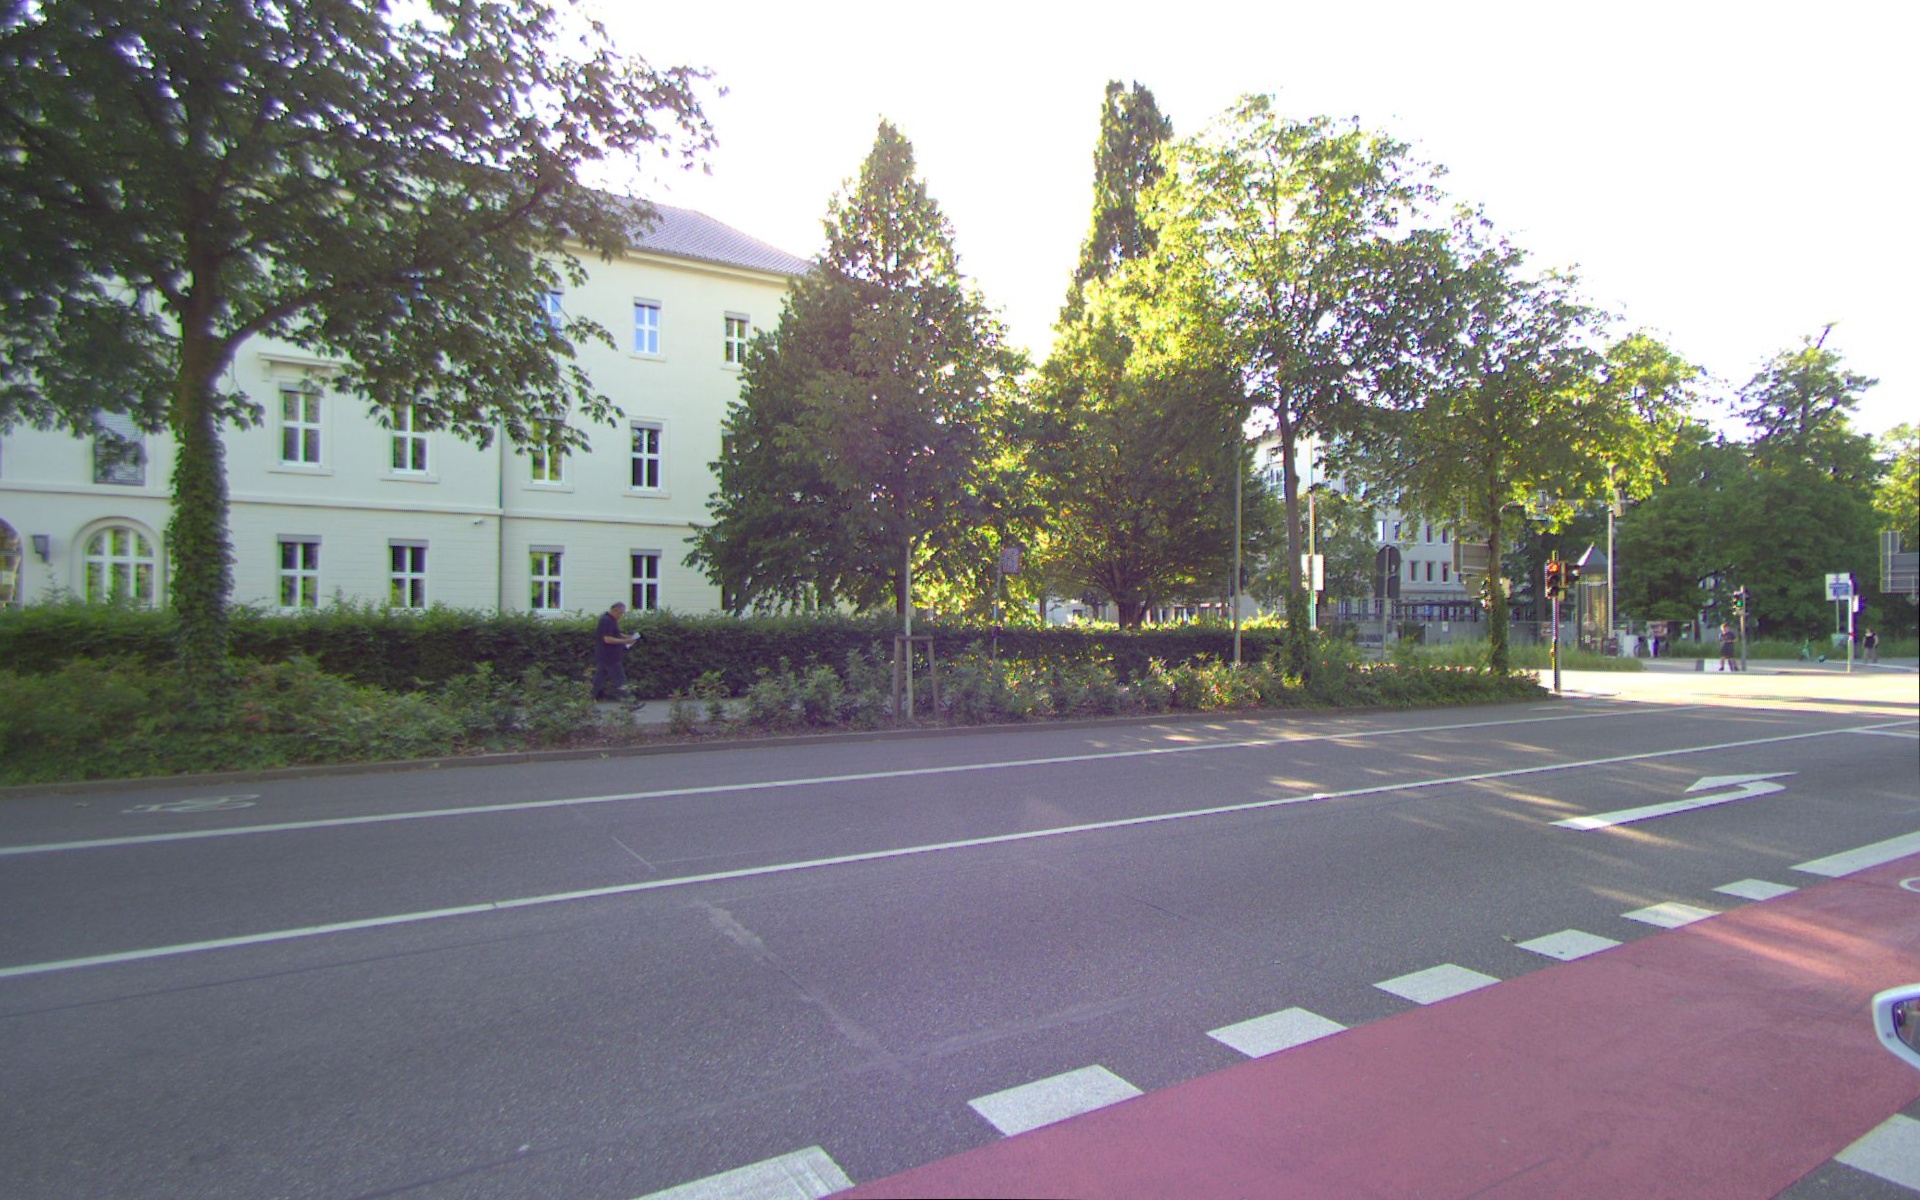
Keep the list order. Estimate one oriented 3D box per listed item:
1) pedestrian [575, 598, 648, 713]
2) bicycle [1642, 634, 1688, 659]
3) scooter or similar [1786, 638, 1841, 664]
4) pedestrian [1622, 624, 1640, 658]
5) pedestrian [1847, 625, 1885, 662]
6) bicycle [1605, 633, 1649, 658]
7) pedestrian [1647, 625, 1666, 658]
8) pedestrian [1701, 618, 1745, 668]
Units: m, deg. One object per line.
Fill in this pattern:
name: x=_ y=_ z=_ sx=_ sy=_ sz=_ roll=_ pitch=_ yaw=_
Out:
pedestrian: x=-5.494 y=0.852 z=15.827 sx=0.957 sy=1.743 sz=0.830 roll=1 pitch=-2 yaw=-30
bicycle: x=35.027 y=2.315 z=49.907 sx=0.288 sy=1.163 sz=1.849 roll=1 pitch=-1 yaw=-36
scooter or similar: x=39.575 y=2.355 z=46.565 sx=1.882 sy=1.139 sz=0.713 roll=1 pitch=0 yaw=3
pedestrian: x=34.198 y=2.082 z=51.178 sx=0.442 sy=1.664 sz=0.624 roll=1 pitch=0 yaw=-39
pedestrian: x=40.802 y=1.952 z=45.222 sx=0.992 sy=1.624 sz=1.080 roll=1 pitch=-2 yaw=-36
bicycle: x=34.296 y=2.331 z=51.691 sx=0.438 sy=1.163 sz=1.849 roll=1 pitch=-1 yaw=-36
pedestrian: x=34.652 y=2.048 z=49.973 sx=0.442 sy=1.601 sz=0.624 roll=1 pitch=0 yaw=-39
pedestrian: x=31.560 y=1.779 z=41.539 sx=1.175 sy=2.040 sz=0.992 roll=1 pitch=0 yaw=-25
